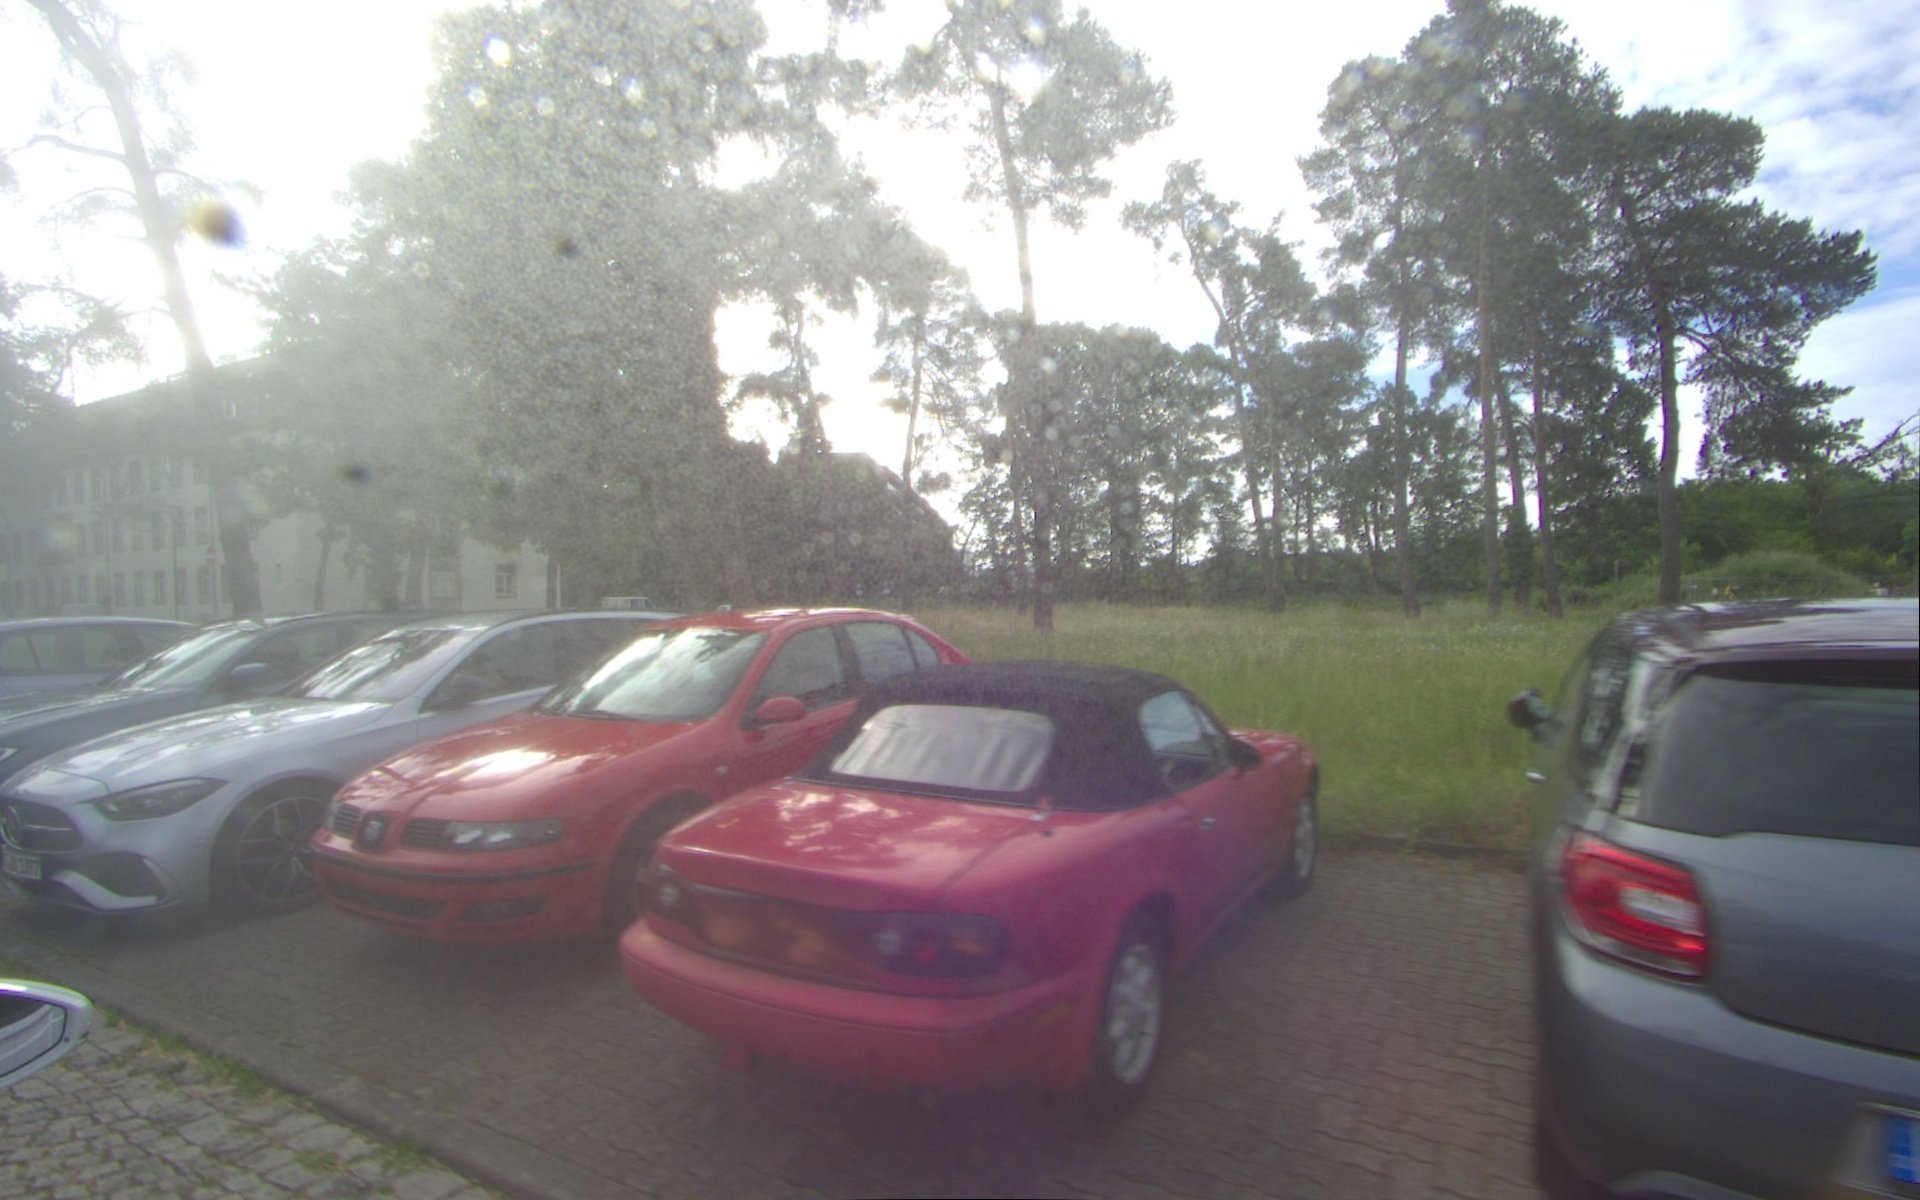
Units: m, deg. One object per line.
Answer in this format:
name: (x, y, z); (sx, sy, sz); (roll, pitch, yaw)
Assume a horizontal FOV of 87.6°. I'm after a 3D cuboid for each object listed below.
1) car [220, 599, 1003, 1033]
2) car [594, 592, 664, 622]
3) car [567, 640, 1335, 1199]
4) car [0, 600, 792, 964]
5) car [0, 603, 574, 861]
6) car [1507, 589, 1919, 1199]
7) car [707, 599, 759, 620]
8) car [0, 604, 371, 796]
car: (-1.478, 0.765, 5.653); (1.773, 1.471, 3.954); (0, 1, 31)
car: (-26.740, 0.505, 81.033); (2.181, 2.319, 5.169); (-1, 0, 32)
car: (0.403, 0.872, 4.096); (1.473, 1.223, 3.584); (0, 1, 31)
car: (-3.388, 0.793, 6.801); (1.786, 1.502, 4.748); (0, 1, 31)
car: (-5.680, 0.814, 8.170); (1.734, 1.502, 4.752); (-1, 1, 28)
car: (2.775, 0.744, 3.218); (1.772, 1.525, 3.772); (0, 1, 29)
car: (-17.258, 0.728, 76.179); (1.971, 1.528, 3.474); (-1, 0, 32)
car: (-7.889, 0.829, 9.395); (1.581, 1.446, 3.756); (0, 2, 30)
